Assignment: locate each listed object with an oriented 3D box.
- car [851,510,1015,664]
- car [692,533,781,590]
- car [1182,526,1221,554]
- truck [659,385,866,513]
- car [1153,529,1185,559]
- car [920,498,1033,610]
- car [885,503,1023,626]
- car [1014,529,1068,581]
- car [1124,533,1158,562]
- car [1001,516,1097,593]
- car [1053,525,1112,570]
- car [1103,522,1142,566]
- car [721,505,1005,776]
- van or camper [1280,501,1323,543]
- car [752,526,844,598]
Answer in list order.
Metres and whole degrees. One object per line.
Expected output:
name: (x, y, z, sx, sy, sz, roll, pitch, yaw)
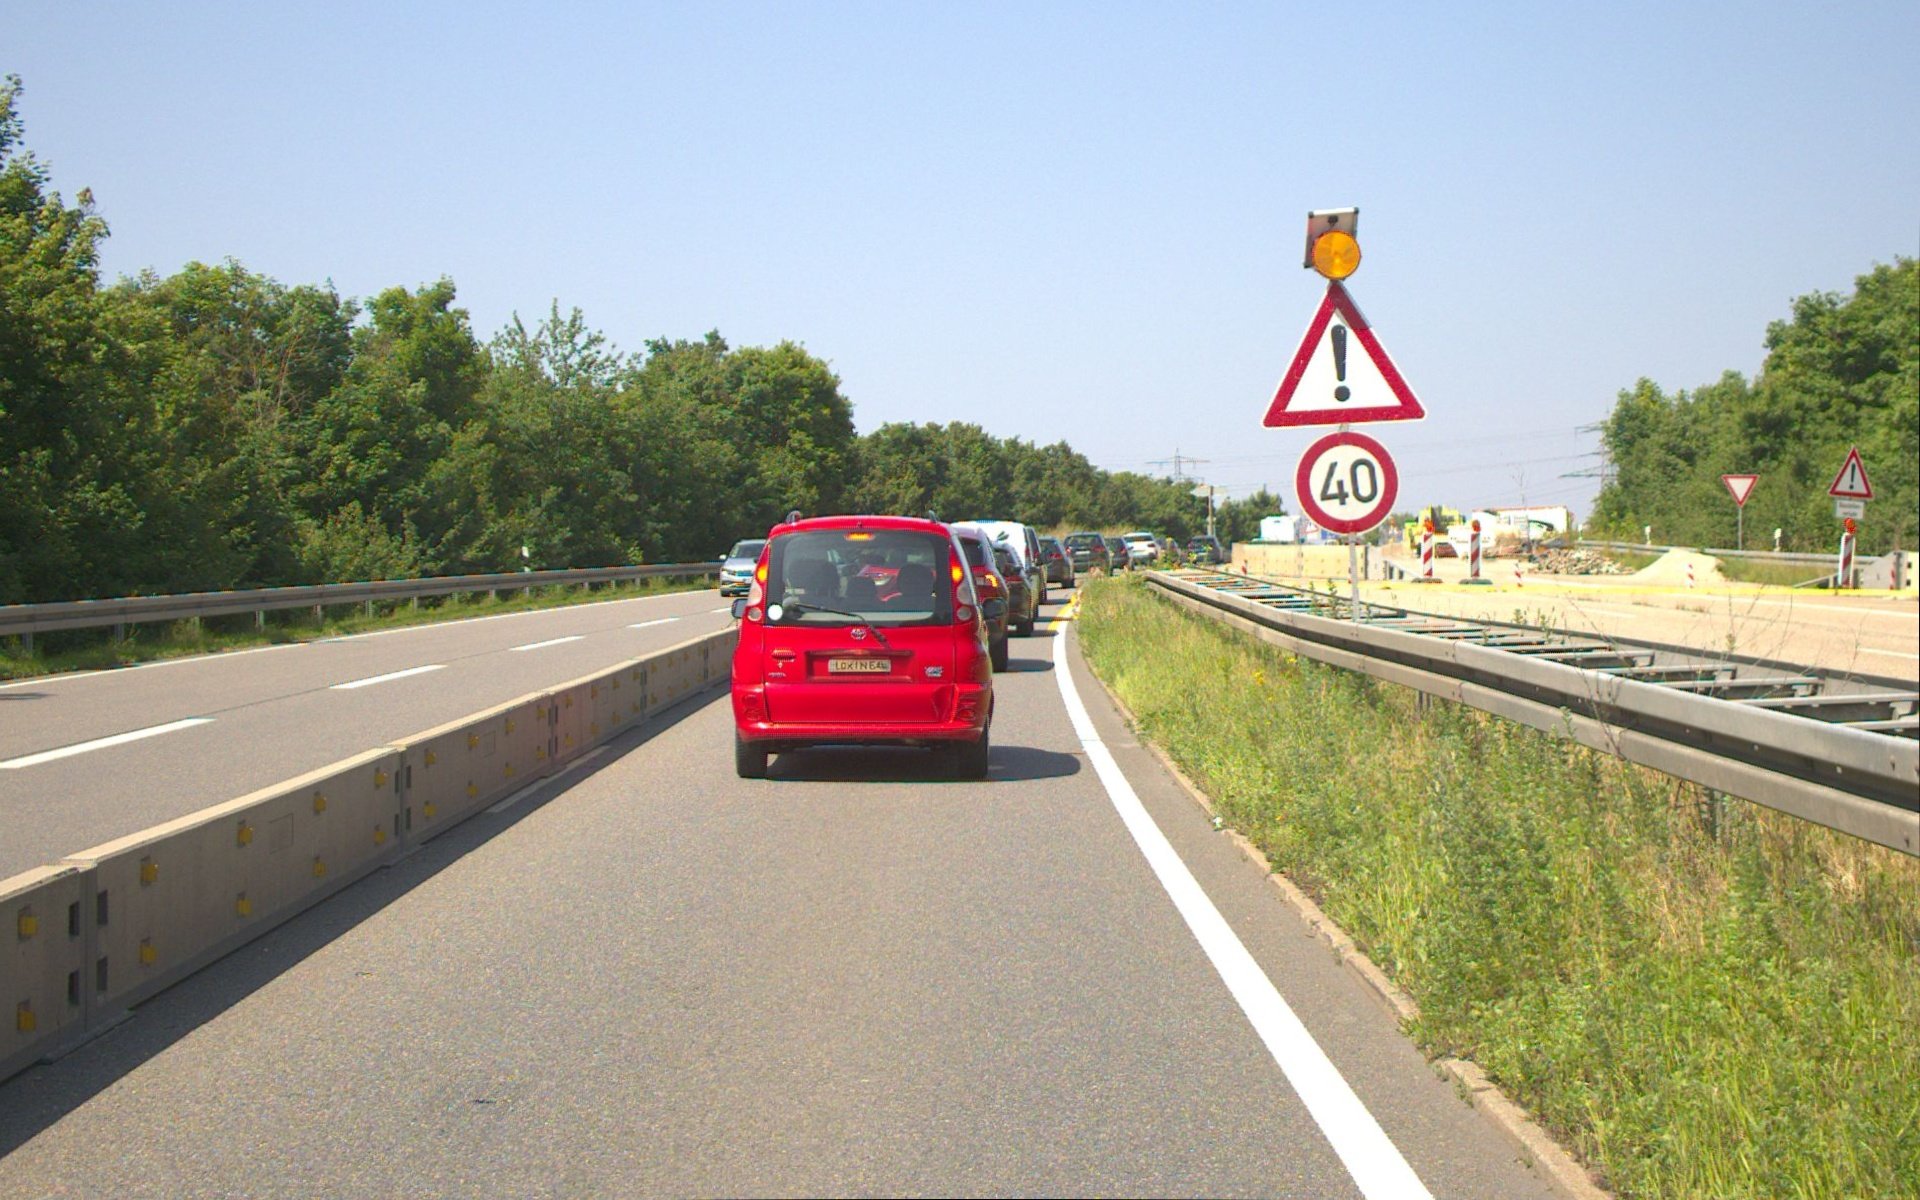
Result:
car: (-0.302, -0.184, 40.485, 1.830, 1.716, 4.000, 0, 1, 0)
car: (-5.719, -1.015, 88.425, 1.949, 1.417, 4.353, -1, 1, 1)
car: (13.556, -3.353, 192.805, 1.993, 1.546, 4.000, 0, 1, 2)
truck: (-8.631, -6.600, 151.118, 8.621, 5.357, 3.389, -1, 1, 3)
car: (10.282, -2.756, 168.851, 1.502, 1.446, 3.169, -1, 1, 4)
car: (0.273, -0.855, 63.653, 1.993, 1.997, 4.000, 0, 1, -1)
car: (-0.052, -0.553, 53.775, 1.993, 1.831, 4.000, -1, 1, 2)
car: (2.299, -1.275, 96.985, 1.502, 1.446, 3.325, 0, 1, 2)
car: (8.066, -2.343, 153.049, 1.421, 1.294, 2.879, 0, 1, 4)
car: (2.027, -1.065, 79.675, 1.993, 1.744, 4.000, 0, 1, -2)
car: (4.328, -1.858, 121.371, 1.994, 1.579, 4.000, 0, 1, 3)
car: (6.473, -2.251, 137.310, 1.502, 1.730, 3.170, 0, 1, 2)
car: (-0.667, 0.217, 23.215, 1.751, 1.667, 4.000, 0, 1, -2)
van or camper: (22.860, -5.210, 230.297, 2.328, 2.697, 4.593, -1, 1, 0)
car: (-3.430, -0.830, 73.420, 1.822, 1.477, 4.257, 0, 1, -1)
